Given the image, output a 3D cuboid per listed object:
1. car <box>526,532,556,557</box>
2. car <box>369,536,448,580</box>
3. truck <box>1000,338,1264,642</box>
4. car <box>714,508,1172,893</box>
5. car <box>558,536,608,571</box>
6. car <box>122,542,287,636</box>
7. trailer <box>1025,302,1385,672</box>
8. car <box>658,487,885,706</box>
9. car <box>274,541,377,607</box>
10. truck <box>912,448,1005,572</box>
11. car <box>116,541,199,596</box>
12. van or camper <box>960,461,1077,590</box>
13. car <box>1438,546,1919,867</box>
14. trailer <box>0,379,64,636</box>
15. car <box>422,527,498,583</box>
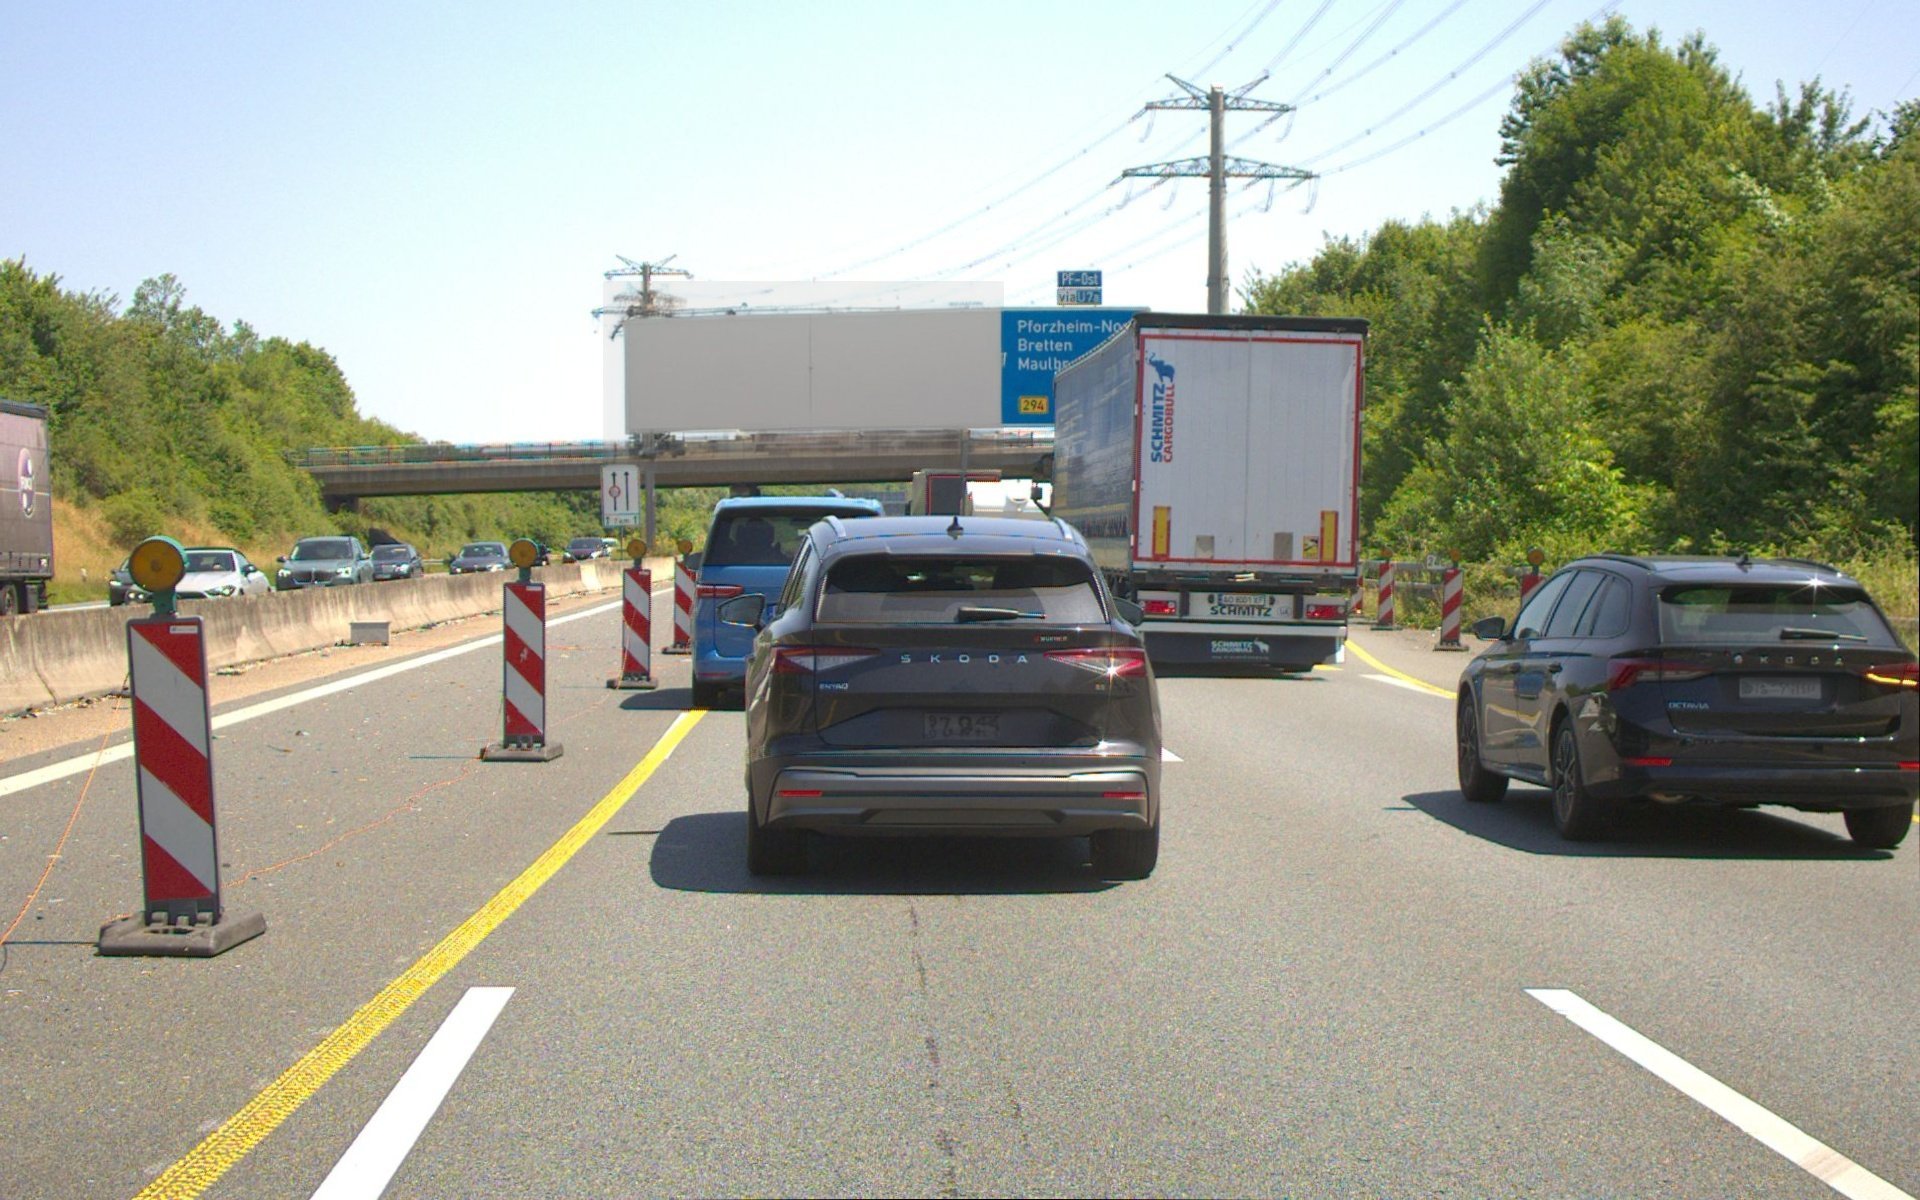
[{"bbox_3d":[-26.450,-3.527,217.020,1.499,1.543,4.000,-1,1,-1],"label":"car"},{"bbox_3d":[-19.041,-1.466,118.813,1.993,1.455,4.587,-1,1,0],"label":"car"},{"bbox_3d":[2.368,-1.568,50.312,3.024,4.073,7.796,1,1,-3],"label":"truck"},{"bbox_3d":[-0.170,0.358,16.519,1.895,1.586,4.443,0,2,-3],"label":"car"},{"bbox_3d":[-16.525,-2.062,150.856,1.848,1.455,4.489,-1,1,-2],"label":"car"},{"bbox_3d":[-12.678,-0.215,57.914,1.762,1.466,4.634,-1,1,0],"label":"car"},{"bbox_3d":[2.794,-1.362,43.436,3.065,4.028,11.489,0,1,-3],"label":"trailer"},{"bbox_3d":[-1.721,-0.042,31.716,1.895,1.835,4.443,2,0,-3],"label":"car"},{"bbox_3d":[-14.491,-0.623,78.651,1.616,1.437,3.990,-1,1,0],"label":"car"},{"bbox_3d":[-0.127,-3.176,123.570,3.077,4.132,13.055,1,1,-1],"label":"truck"},{"bbox_3d":[-21.273,-0.859,91.214,1.503,1.392,4.090,-1,1,-4],"label":"car"},{"bbox_3d":[1.406,-1.863,85.900,2.586,2.958,6.085,3,1,-1],"label":"van or camper"},{"bbox_3d":[3.886,0.479,18.652,1.779,1.484,4.464,1,1,-2],"label":"car"},{"bbox_3d":[-17.054,-1.435,53.312,3.160,4.165,13.686,-1,1,-2],"label":"trailer"},{"bbox_3d":[-15.837,-1.433,109.072,1.842,1.708,4.396,-1,1,-1],"label":"car"}]
